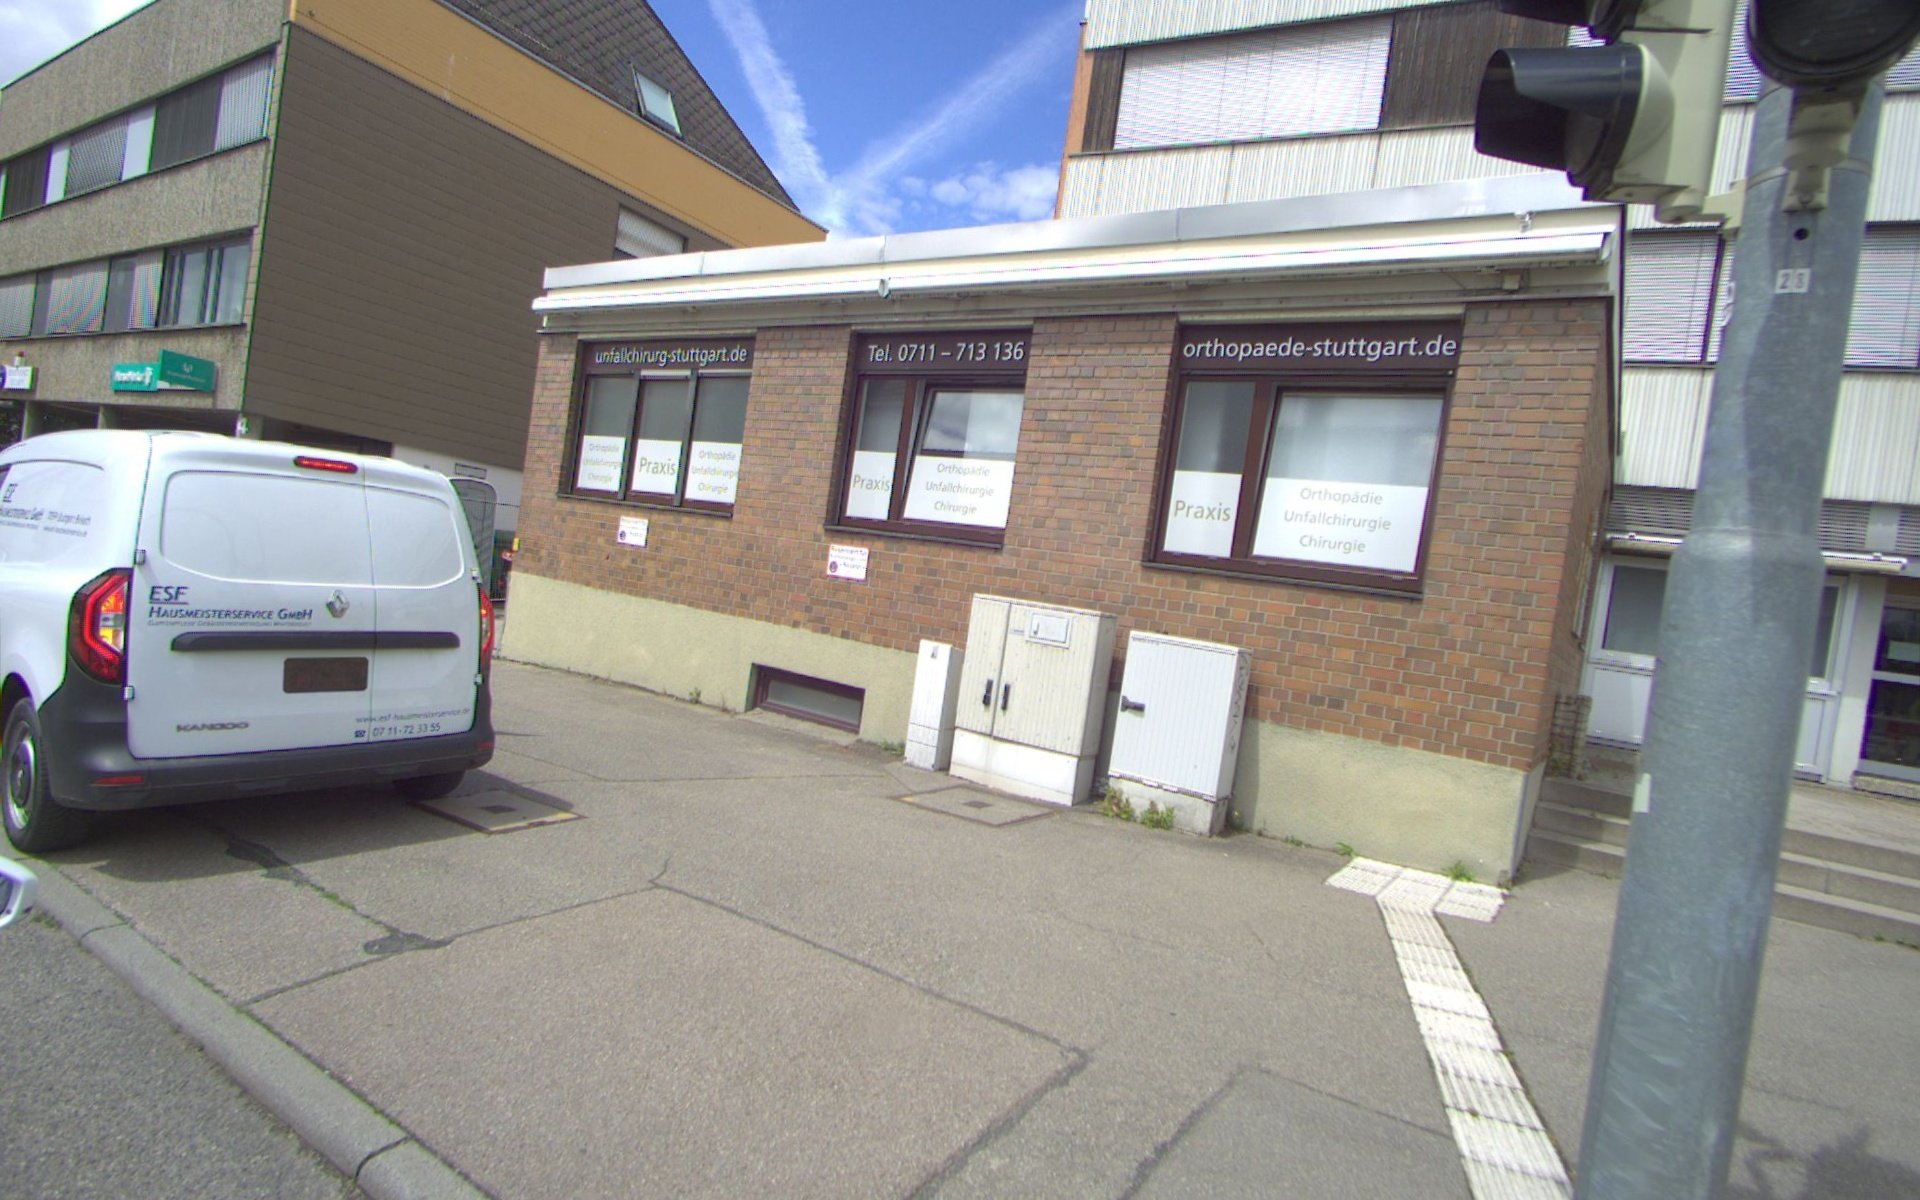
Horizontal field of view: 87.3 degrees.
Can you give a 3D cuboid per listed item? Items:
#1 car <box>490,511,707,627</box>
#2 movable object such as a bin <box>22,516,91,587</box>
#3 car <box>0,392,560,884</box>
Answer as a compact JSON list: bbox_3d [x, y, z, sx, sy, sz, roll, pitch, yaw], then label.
[{"bbox_3d":[-6.636,-0.542,18.921,1.882,1.802,3.774,6,2,16],"label":"car"},{"bbox_3d":[-14.351,-0.770,15.990,0.597,1.040,0.674,5,2,-27],"label":"movable object such as a bin"},{"bbox_3d":[-4.498,-0.050,5.730,4.419,1.818,1.910,7,3,34],"label":"car"}]
